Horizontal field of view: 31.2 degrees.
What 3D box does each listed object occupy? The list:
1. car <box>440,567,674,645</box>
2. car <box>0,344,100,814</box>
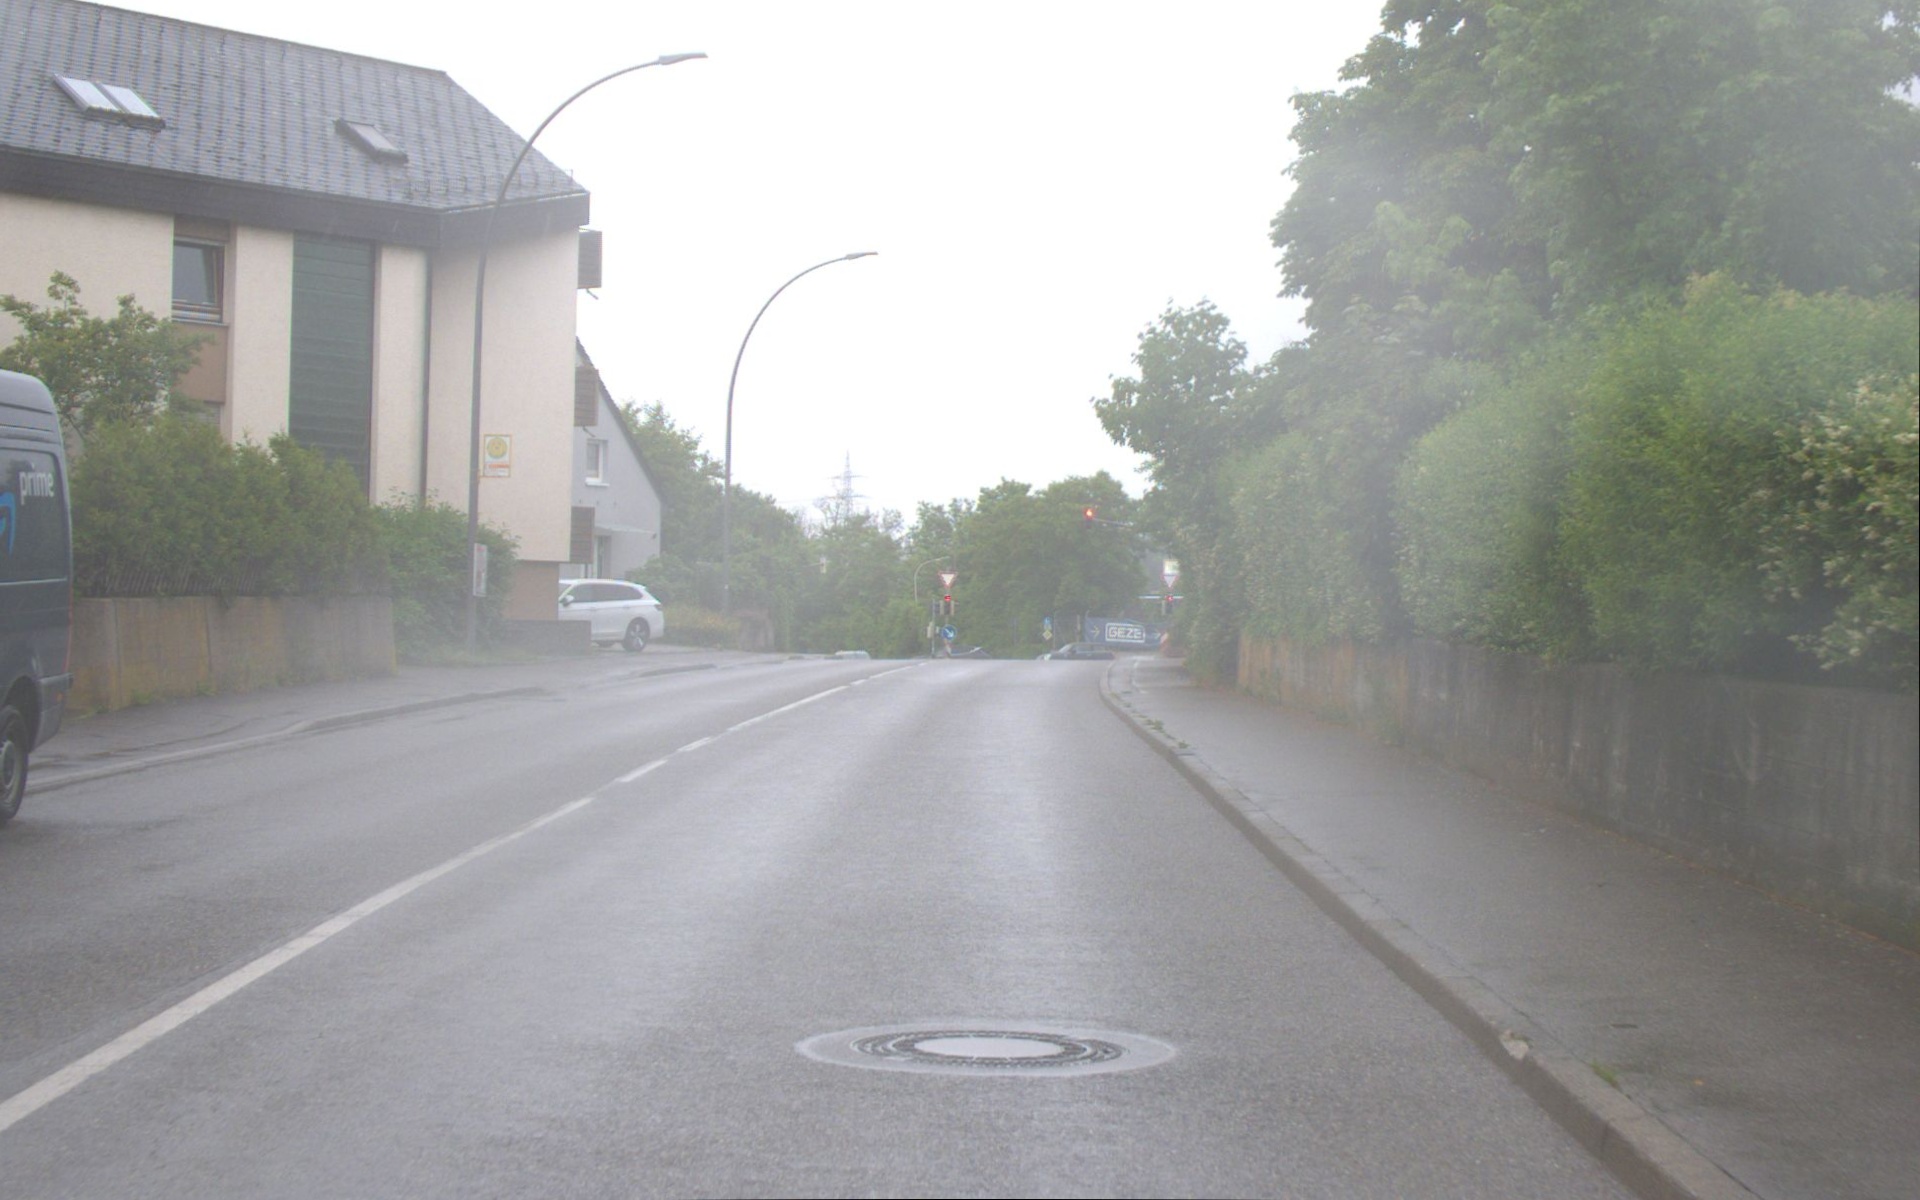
[{"bbox_3d":[-8.218,0.132,70.527,1.905,1.472,4.871,3,1,36],"label":"car"},{"bbox_3d":[-6.476,-0.137,18.183,2.094,2.640,5.918,2,1,2],"label":"car"}]
